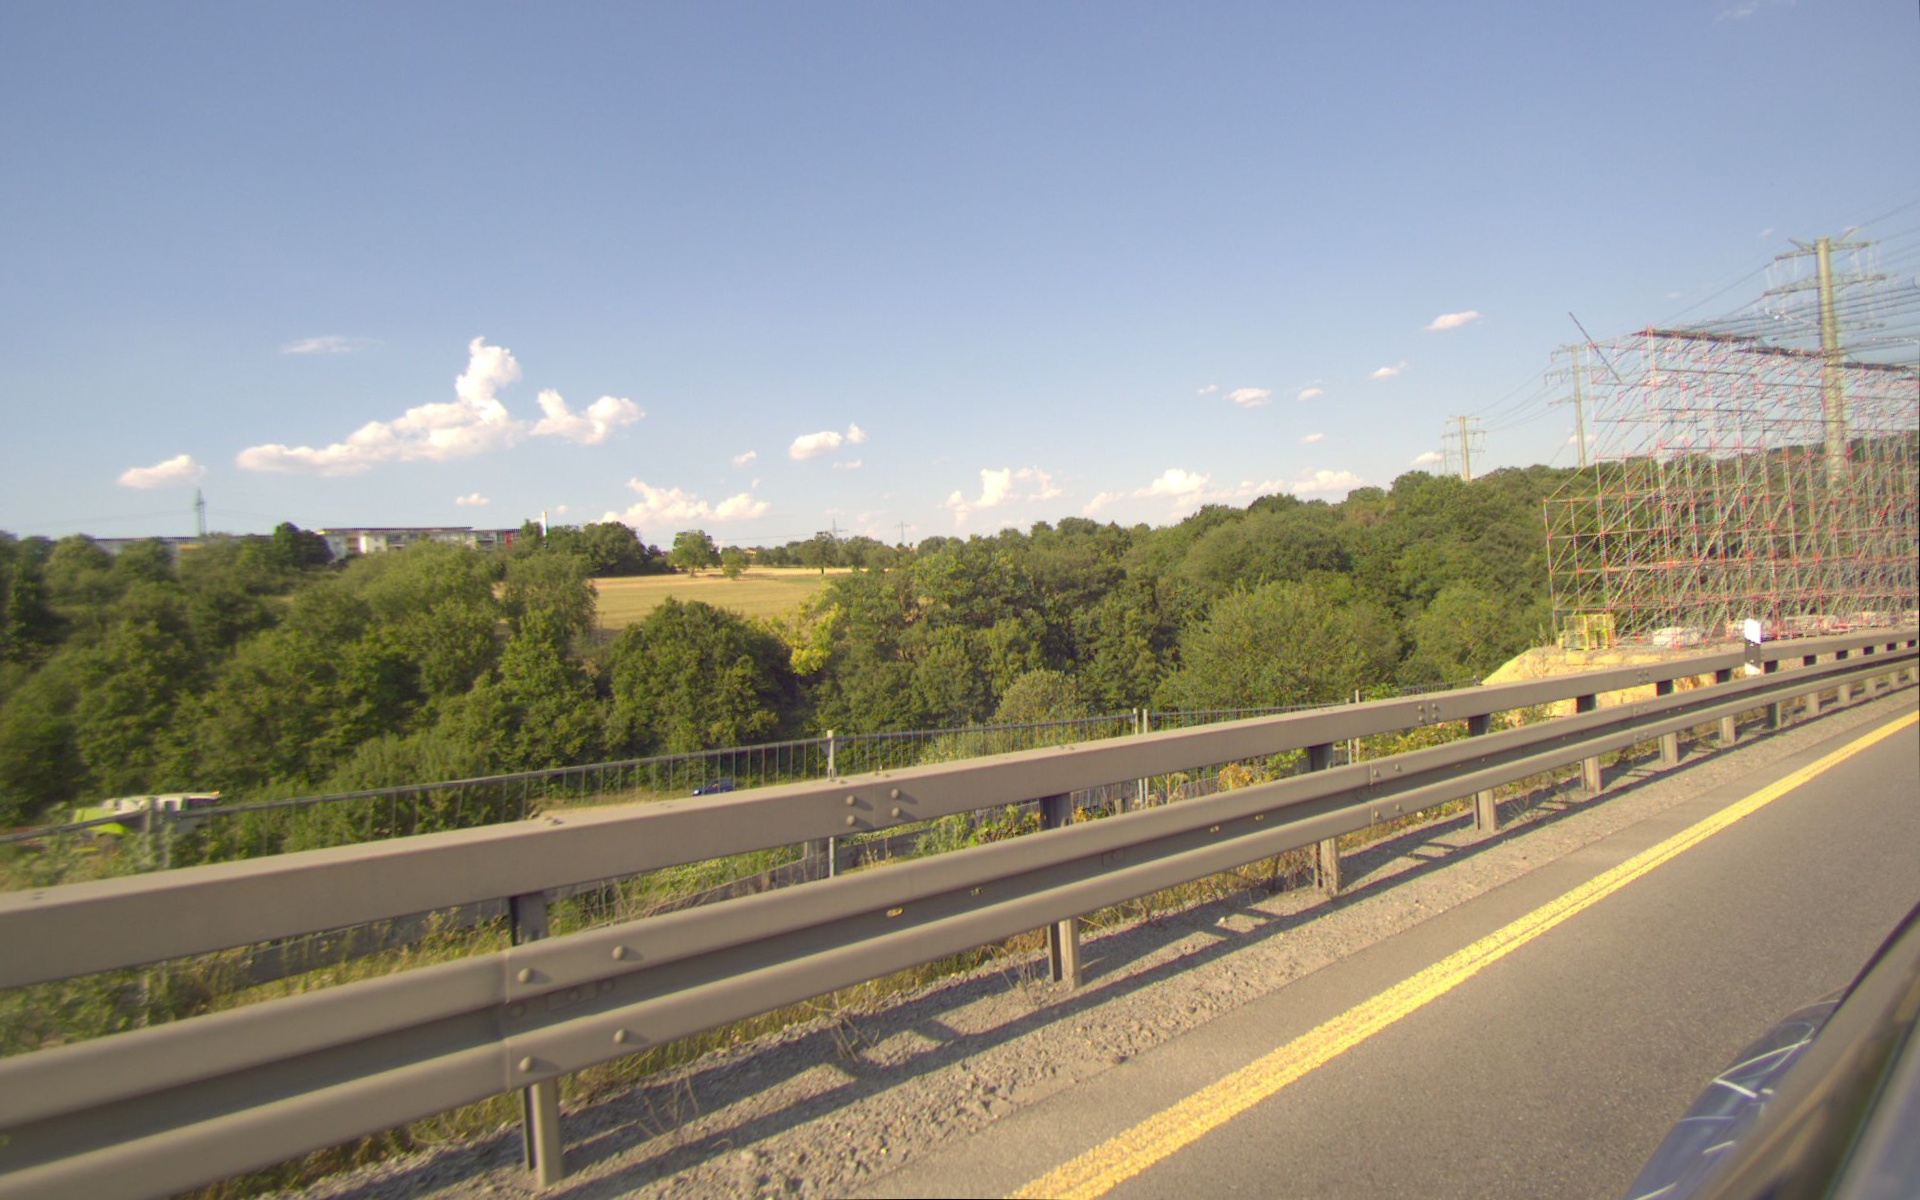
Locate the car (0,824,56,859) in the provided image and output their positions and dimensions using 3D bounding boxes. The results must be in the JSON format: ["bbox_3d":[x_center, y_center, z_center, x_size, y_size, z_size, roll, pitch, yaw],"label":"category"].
[{"bbox_3d":[-65.377,16.621,69.274,5.023,1.858,1.711,0,1,-14],"label":"car"}]
